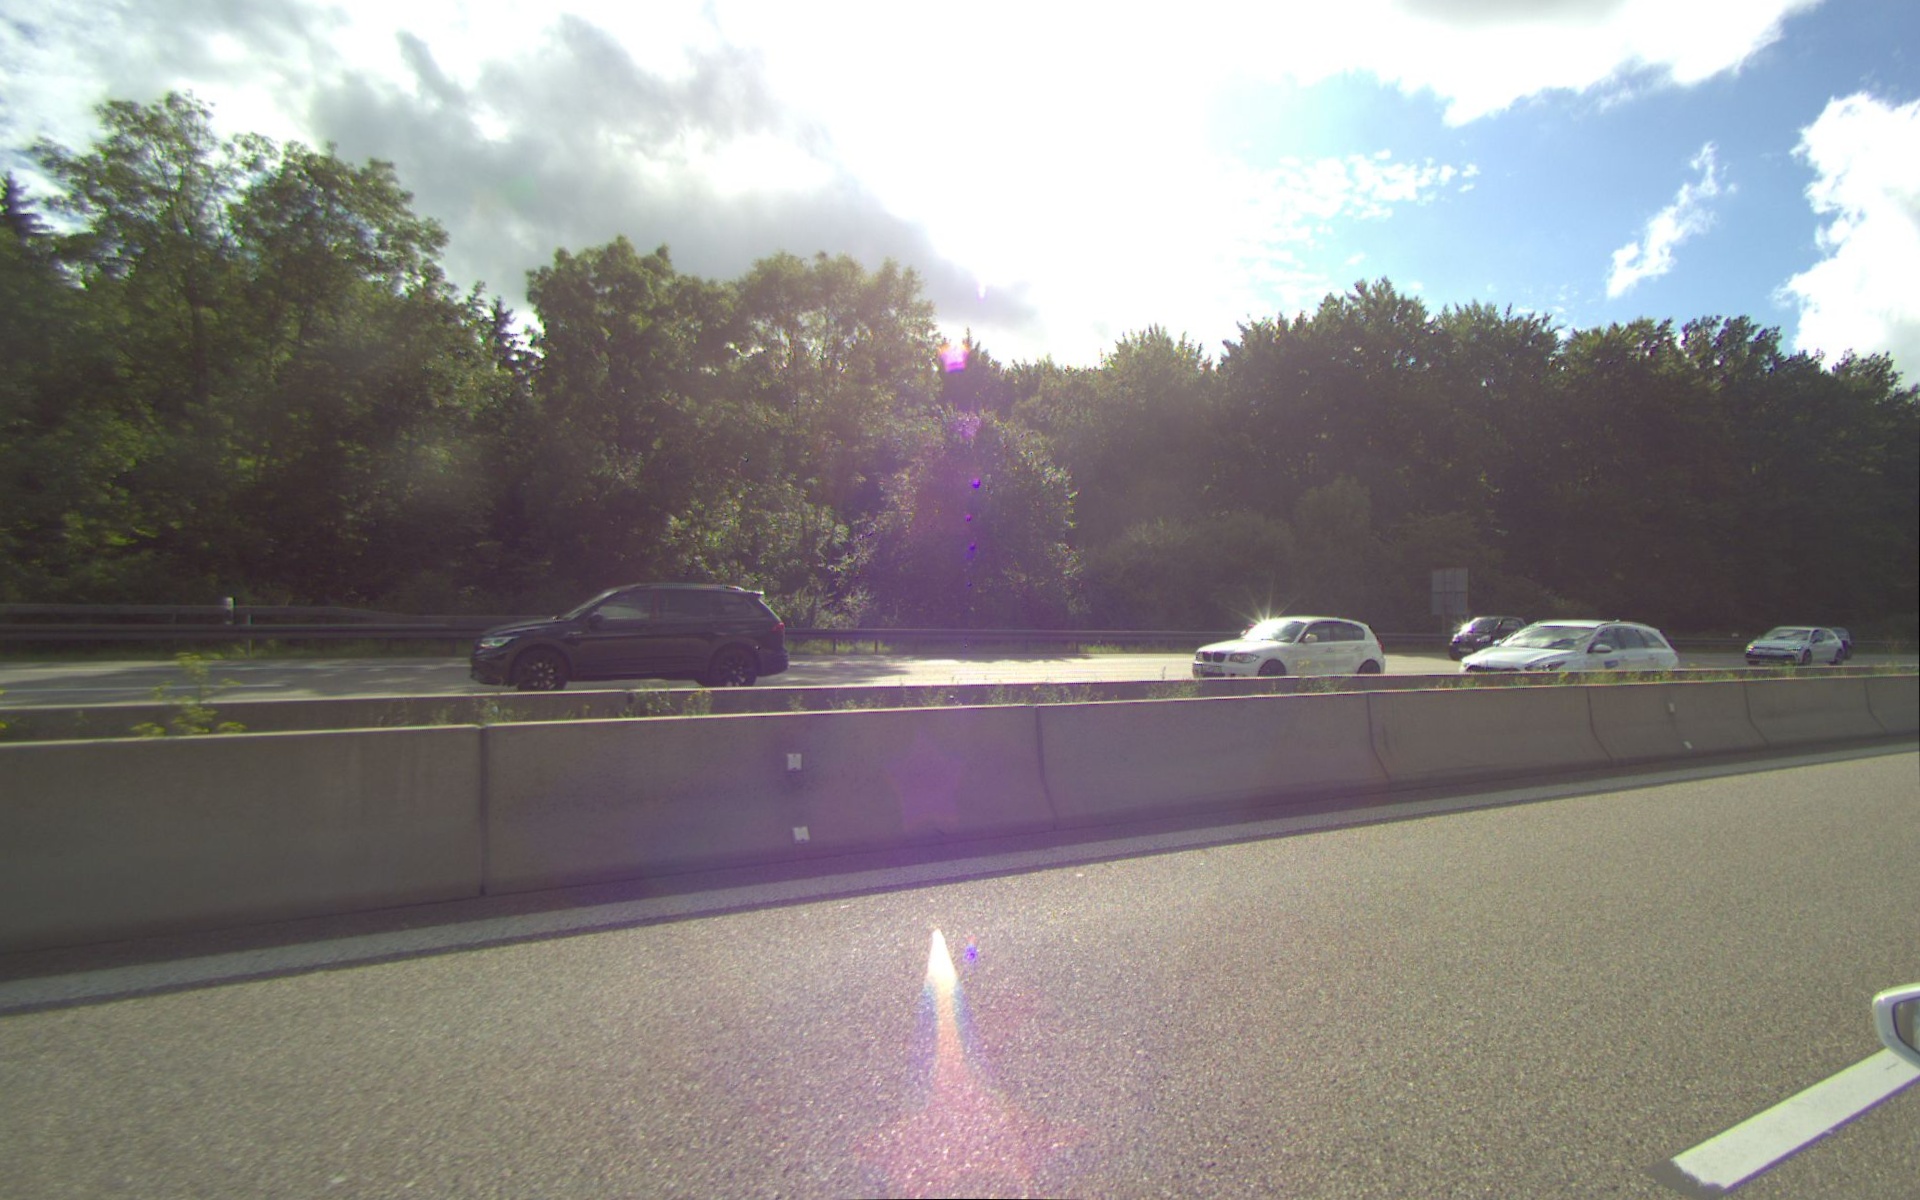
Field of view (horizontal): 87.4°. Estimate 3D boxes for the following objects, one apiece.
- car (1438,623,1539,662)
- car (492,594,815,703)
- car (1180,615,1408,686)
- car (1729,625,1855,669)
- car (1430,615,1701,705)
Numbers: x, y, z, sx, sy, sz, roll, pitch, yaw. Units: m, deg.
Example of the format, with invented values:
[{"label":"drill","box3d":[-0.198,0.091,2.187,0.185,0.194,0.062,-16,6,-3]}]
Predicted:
[{"label":"car","box3d":[17.850,1.416,33.892,3.229,1.228,1.487,1,0,-29]},{"label":"car","box3d":[-4.708,0.710,15.557,4.570,1.499,1.715,1,0,-27]},{"label":"car","box3d":[6.491,0.943,19.382,4.385,1.216,1.640,1,0,-29]},{"label":"car","box3d":[31.069,1.733,37.479,4.614,1.492,2.063,1,0,-29]},{"label":"car","box3d":[10.532,0.979,17.400,4.776,1.326,1.984,1,0,-30]}]
